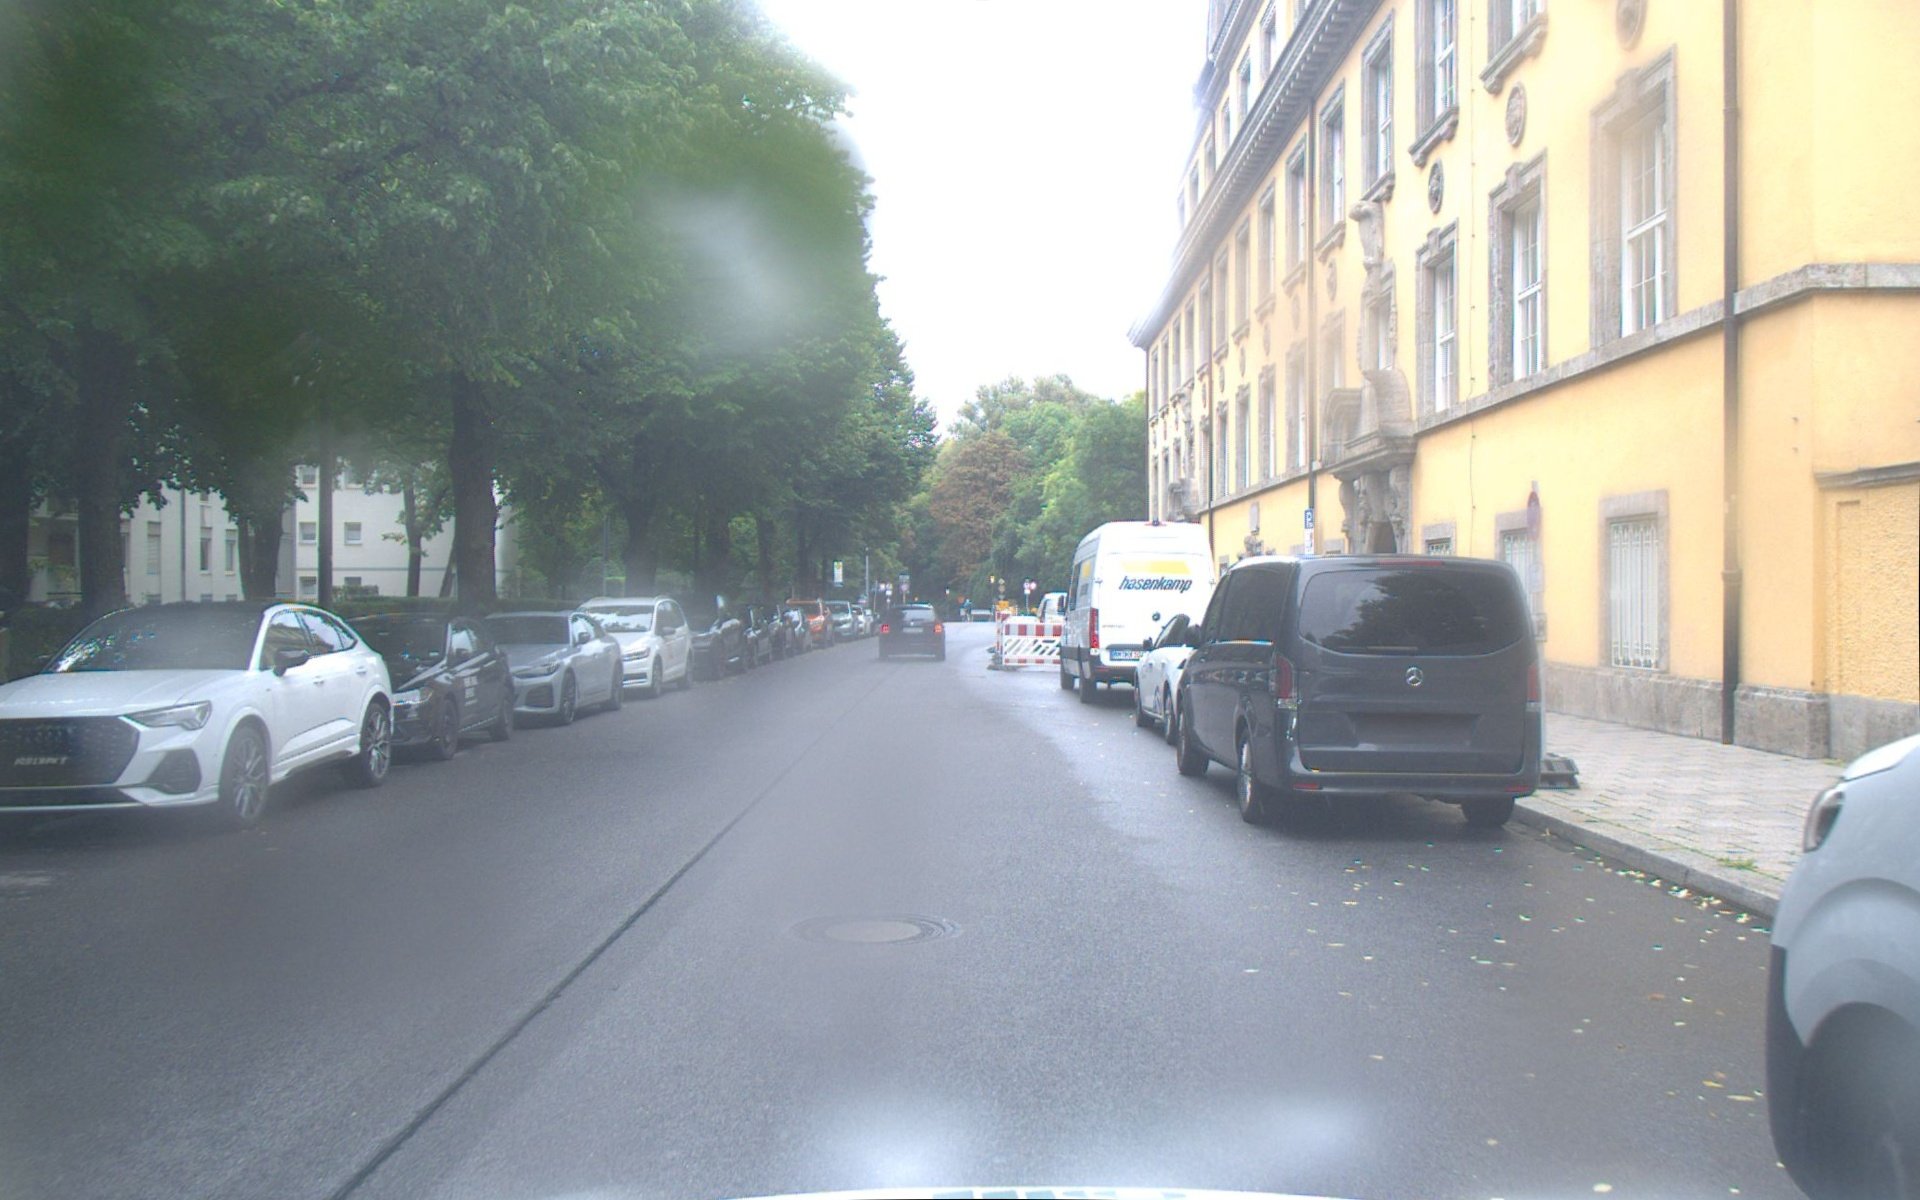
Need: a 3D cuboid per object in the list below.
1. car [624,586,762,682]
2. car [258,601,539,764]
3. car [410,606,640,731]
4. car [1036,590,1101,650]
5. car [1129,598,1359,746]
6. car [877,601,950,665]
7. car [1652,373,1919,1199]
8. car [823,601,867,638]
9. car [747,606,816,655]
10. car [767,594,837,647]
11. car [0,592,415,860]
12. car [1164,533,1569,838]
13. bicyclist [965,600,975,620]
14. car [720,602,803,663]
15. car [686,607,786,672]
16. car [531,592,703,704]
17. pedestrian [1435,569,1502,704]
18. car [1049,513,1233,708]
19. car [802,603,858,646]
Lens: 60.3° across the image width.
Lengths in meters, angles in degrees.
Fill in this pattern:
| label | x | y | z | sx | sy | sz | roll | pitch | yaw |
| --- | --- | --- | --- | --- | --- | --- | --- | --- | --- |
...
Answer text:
| label | x | y | z | sx | sy | sz | roll | pitch | yaw |
| --- | --- | --- | --- | --- | --- | --- | --- | --- | --- |
| car | -5.576 | 0.677 | 35.221 | 1.952 | 1.828 | 4.921 | -2 | 0 | 2 |
| car | -5.774 | 0.783 | 17.522 | 1.638 | 1.495 | 4.103 | -1 | 0 | -1 |
| car | -5.768 | 0.844 | 22.582 | 1.772 | 1.495 | 4.997 | -1 | 0 | 0 |
| car | 3.373 | 0.647 | 52.008 | 1.704 | 1.780 | 4.355 | -1 | -1 | 0 |
| car | 3.127 | 0.750 | 19.078 | 1.833 | 1.483 | 4.254 | -1 | 0 | -1 |
| car | -1.183 | 0.845 | 43.820 | 1.544 | 1.611 | 4.046 | -1 | 0 | 4 |
| car | 2.849 | 0.553 | 1.616 | 1.973 | 1.940 | 5.161 | 1 | 0 | -3 |
| car | -4.960 | 0.842 | 71.877 | 1.545 | 1.523 | 4.199 | -1 | 0 | 1 |
| car | -5.565 | 0.919 | 51.897 | 1.692 | 1.447 | 4.251 | -1 | 0 | 0 |
| car | -5.466 | 0.695 | 57.656 | 1.834 | 1.758 | 4.642 | -1 | 0 | 2 |
| car | -5.690 | 0.791 | 12.431 | 1.748 | 1.625 | 4.583 | -1 | 0 | -1 |
| car | 2.880 | 0.555 | 12.952 | 1.833 | 1.902 | 4.985 | -1 | 0 | -1 |
| bicyclist | 0.766 | 0.757 | 129.193 | 0.668 | 1.530 | 0.899 | -1 | 0 | -8 |
| car | -5.477 | 0.867 | 46.146 | 1.749 | 1.602 | 4.486 | -1 | 0 | 0 |
| car | -5.452 | 0.932 | 40.750 | 1.683 | 1.476 | 4.696 | -1 | 0 | 2 |
| car | -5.669 | 0.757 | 27.870 | 1.729 | 1.650 | 4.524 | -3 | 0 | 2 |
| pedestrian | 7.100 | 0.503 | 23.120 | 0.686 | 1.836 | 0.583 | -2 | -1 | 0 |
| car | 2.765 | 0.173 | 27.163 | 2.013 | 2.720 | 7.612 | -1 | 0 | -1 |
| car | -5.168 | 0.965 | 66.228 | 1.778 | 1.629 | 4.513 | -1 | 0 | 1 |
